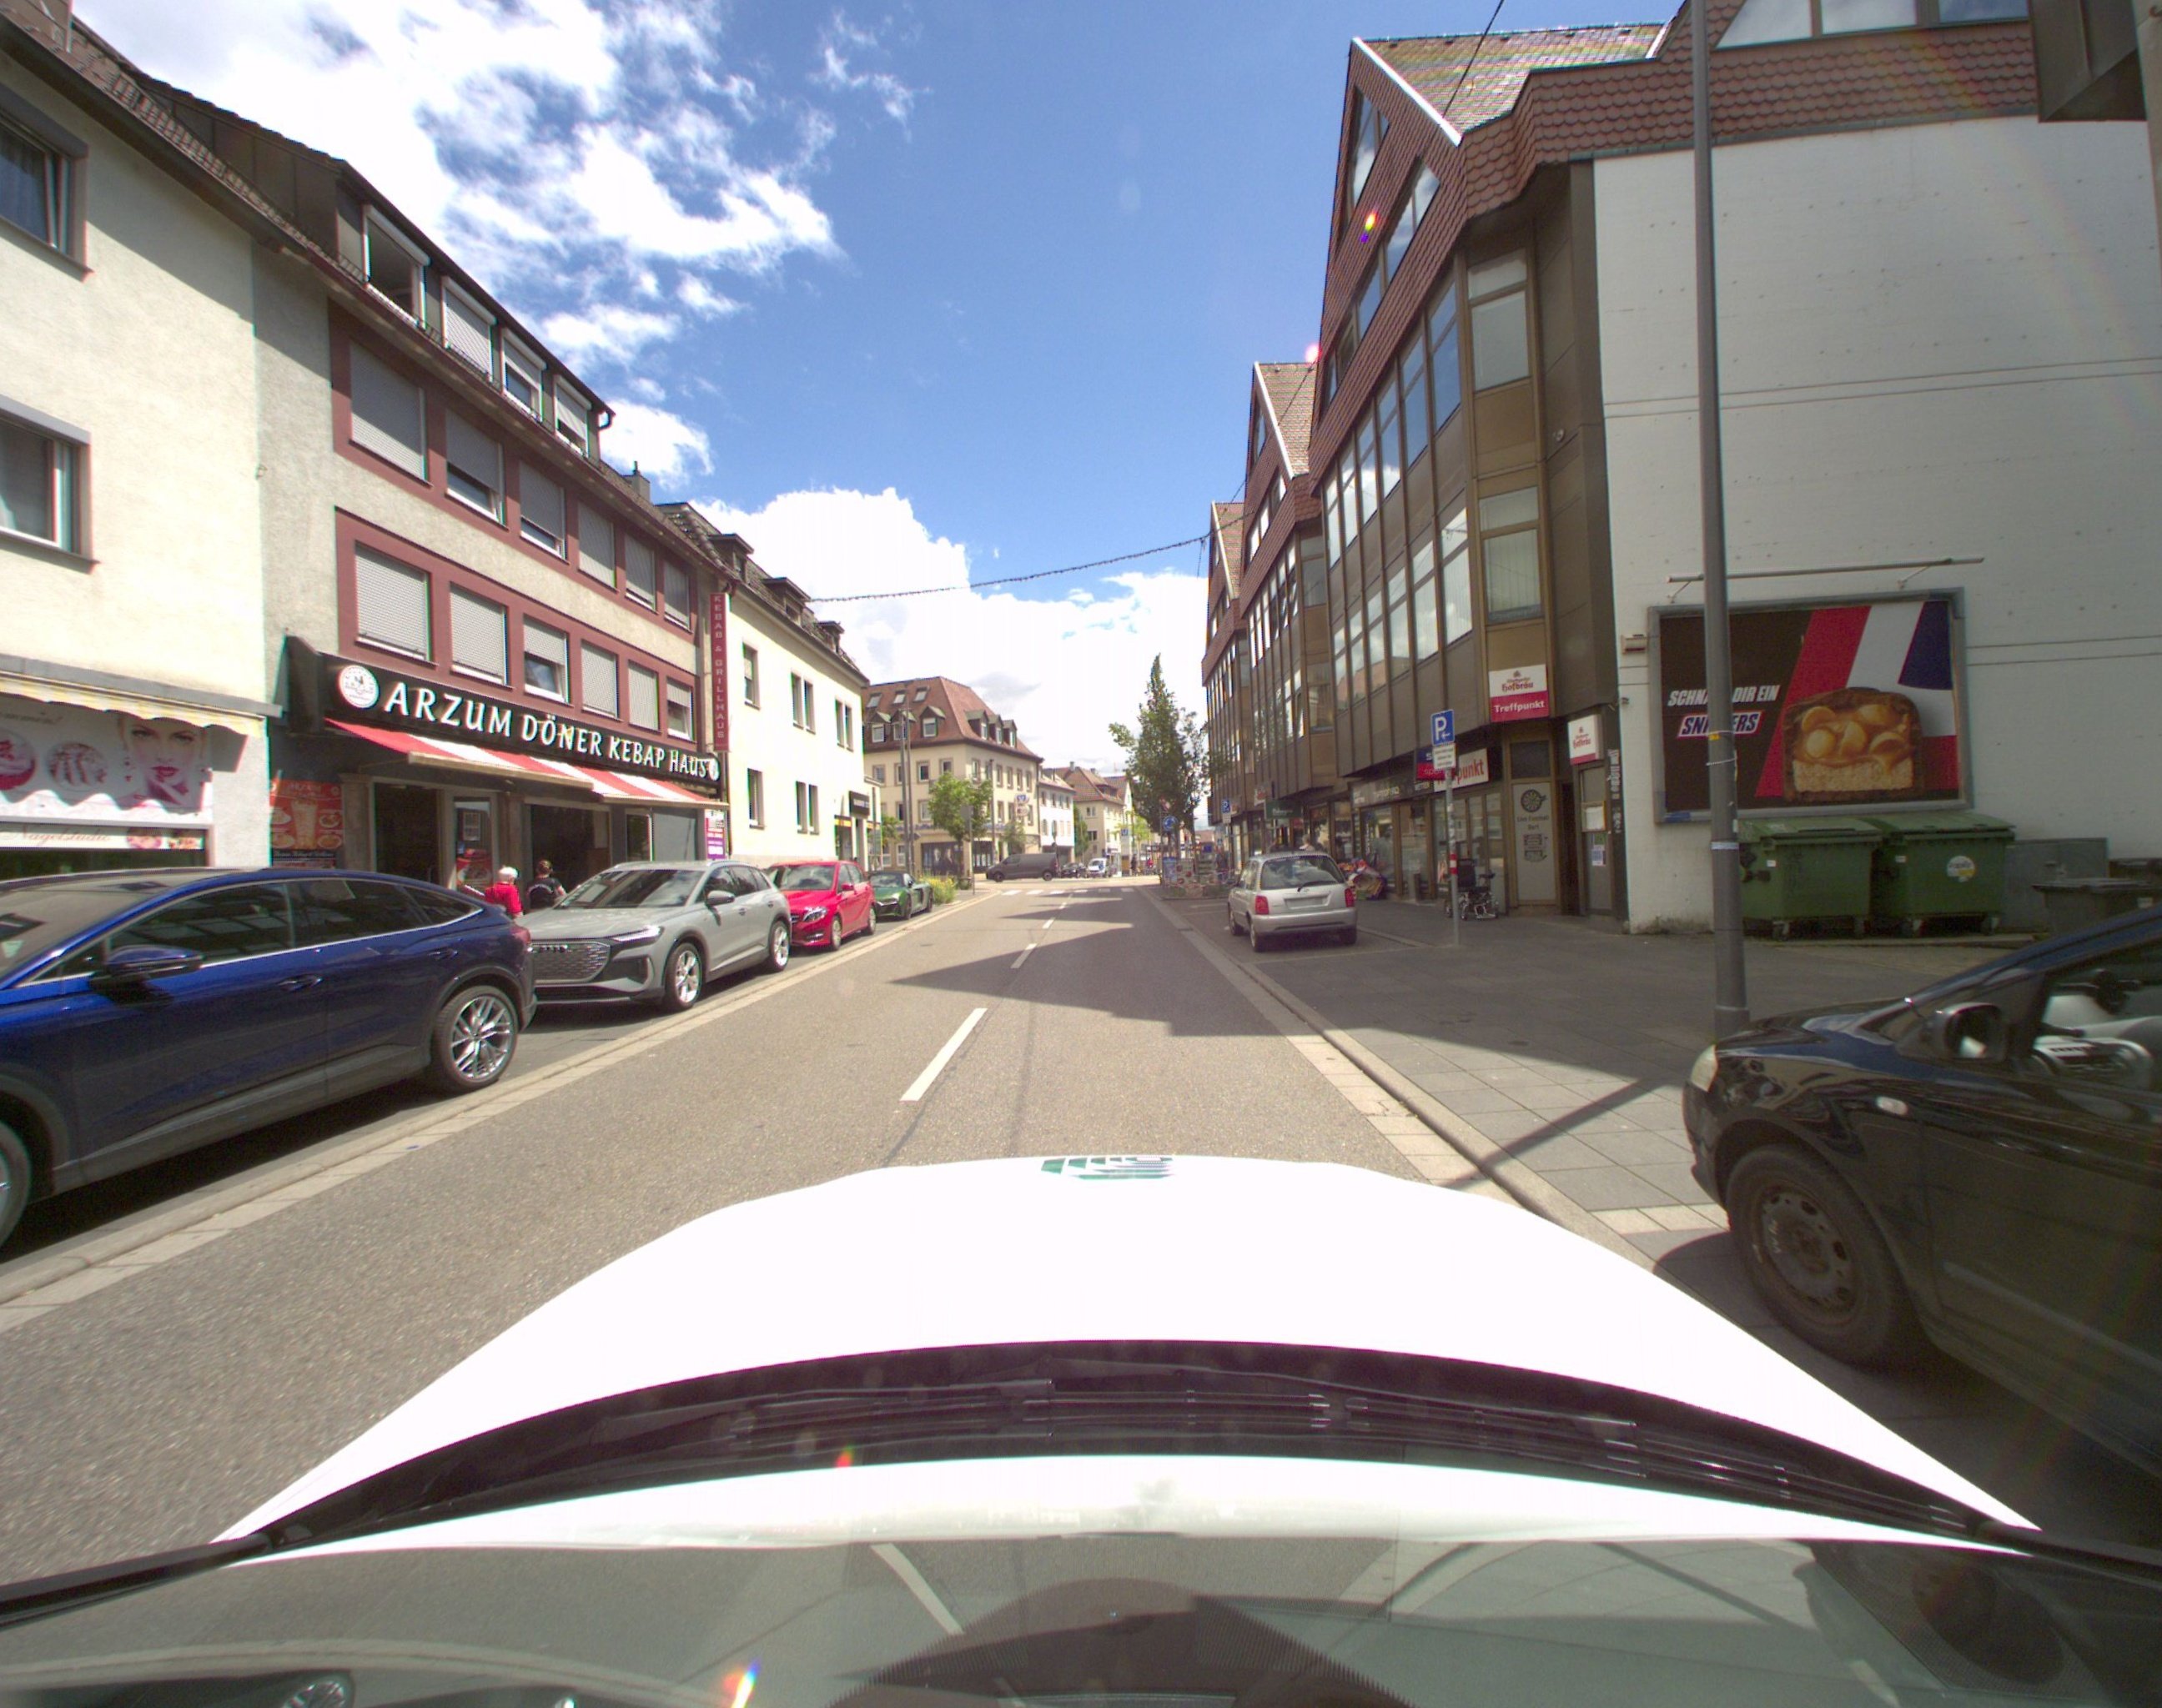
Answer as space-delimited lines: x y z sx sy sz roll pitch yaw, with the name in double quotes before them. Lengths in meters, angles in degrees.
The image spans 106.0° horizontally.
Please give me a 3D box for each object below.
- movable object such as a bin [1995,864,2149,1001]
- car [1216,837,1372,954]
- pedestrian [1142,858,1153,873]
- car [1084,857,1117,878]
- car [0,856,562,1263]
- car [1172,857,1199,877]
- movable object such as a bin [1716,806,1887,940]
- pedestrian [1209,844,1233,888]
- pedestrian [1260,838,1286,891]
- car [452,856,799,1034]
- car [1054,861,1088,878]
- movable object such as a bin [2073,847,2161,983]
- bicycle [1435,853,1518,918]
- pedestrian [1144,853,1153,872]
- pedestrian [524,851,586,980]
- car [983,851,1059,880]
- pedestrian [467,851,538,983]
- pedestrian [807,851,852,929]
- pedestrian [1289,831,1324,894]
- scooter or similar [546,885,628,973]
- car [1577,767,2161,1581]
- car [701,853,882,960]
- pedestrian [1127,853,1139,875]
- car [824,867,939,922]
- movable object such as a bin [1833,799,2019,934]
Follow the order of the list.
"movable object such as a bin" 7.590 0.578 6.260 0.485 0.999 0.554 -1 -1 4
"car" 3.306 0.581 13.347 1.603 1.495 3.797 -5 0 3
"pedestrian" 6.900 1.167 84.493 0.752 1.579 0.721 -1 -1 -39
"car" 1.688 1.154 69.719 1.979 1.689 4.015 -1 -1 14
"car" -5.148 0.840 4.349 1.792 1.598 4.390 -2 0 2
"car" 8.594 1.062 66.491 1.685 1.530 3.485 -1 -1 15
"movable object such as a bin" 8.681 0.223 9.881 1.137 1.528 1.033 -1 -1 4
"pedestrian" 5.221 0.456 30.415 0.781 1.615 0.800 -1 -1 1
"pedestrian" 6.760 0.377 28.631 0.734 1.814 0.712 -1 -1 1
"car" -5.057 0.860 9.882 1.794 1.604 4.348 -2 0 -2
"car" -0.834 1.346 72.676 1.979 1.453 4.015 -1 -1 15
"movable object such as a bin" 8.235 0.451 6.276 0.485 0.999 0.554 -1 -1 4
"bicycle" 6.716 0.520 13.906 0.717 1.047 1.477 -1 -1 2
"pedestrian" 6.527 0.816 78.525 0.722 1.764 0.751 -1 -1 12
"pedestrian" -6.912 0.794 10.714 0.512 1.648 0.472 -1 -1 -1
"car" -4.008 0.792 54.873 4.972 1.848 2.045 -1 -1 -4
"pedestrian" -7.483 0.797 10.550 0.500 1.648 0.574 -1 -1 -1
"pedestrian" -5.453 0.770 17.681 0.683 1.648 0.780 -1 -1 3
"pedestrian" 6.251 0.235 22.615 0.658 1.706 0.642 0 -1 -21
"scooter or similar" -6.923 1.021 11.448 0.561 1.151 0.984 -1 -1 -1
"car" 2.792 0.561 1.429 1.603 1.532 3.797 -3 0 3
"car" -5.060 0.830 14.896 1.794 1.604 4.217 -2 0 -1
"pedestrian" 4.128 0.797 64.567 0.865 1.708 0.531 -1 -1 4
"car" -5.109 1.002 21.514 1.812 1.224 4.525 0 0 1
"movable object such as a bin" 10.109 0.150 9.805 1.137 1.528 1.033 -1 -1 4
